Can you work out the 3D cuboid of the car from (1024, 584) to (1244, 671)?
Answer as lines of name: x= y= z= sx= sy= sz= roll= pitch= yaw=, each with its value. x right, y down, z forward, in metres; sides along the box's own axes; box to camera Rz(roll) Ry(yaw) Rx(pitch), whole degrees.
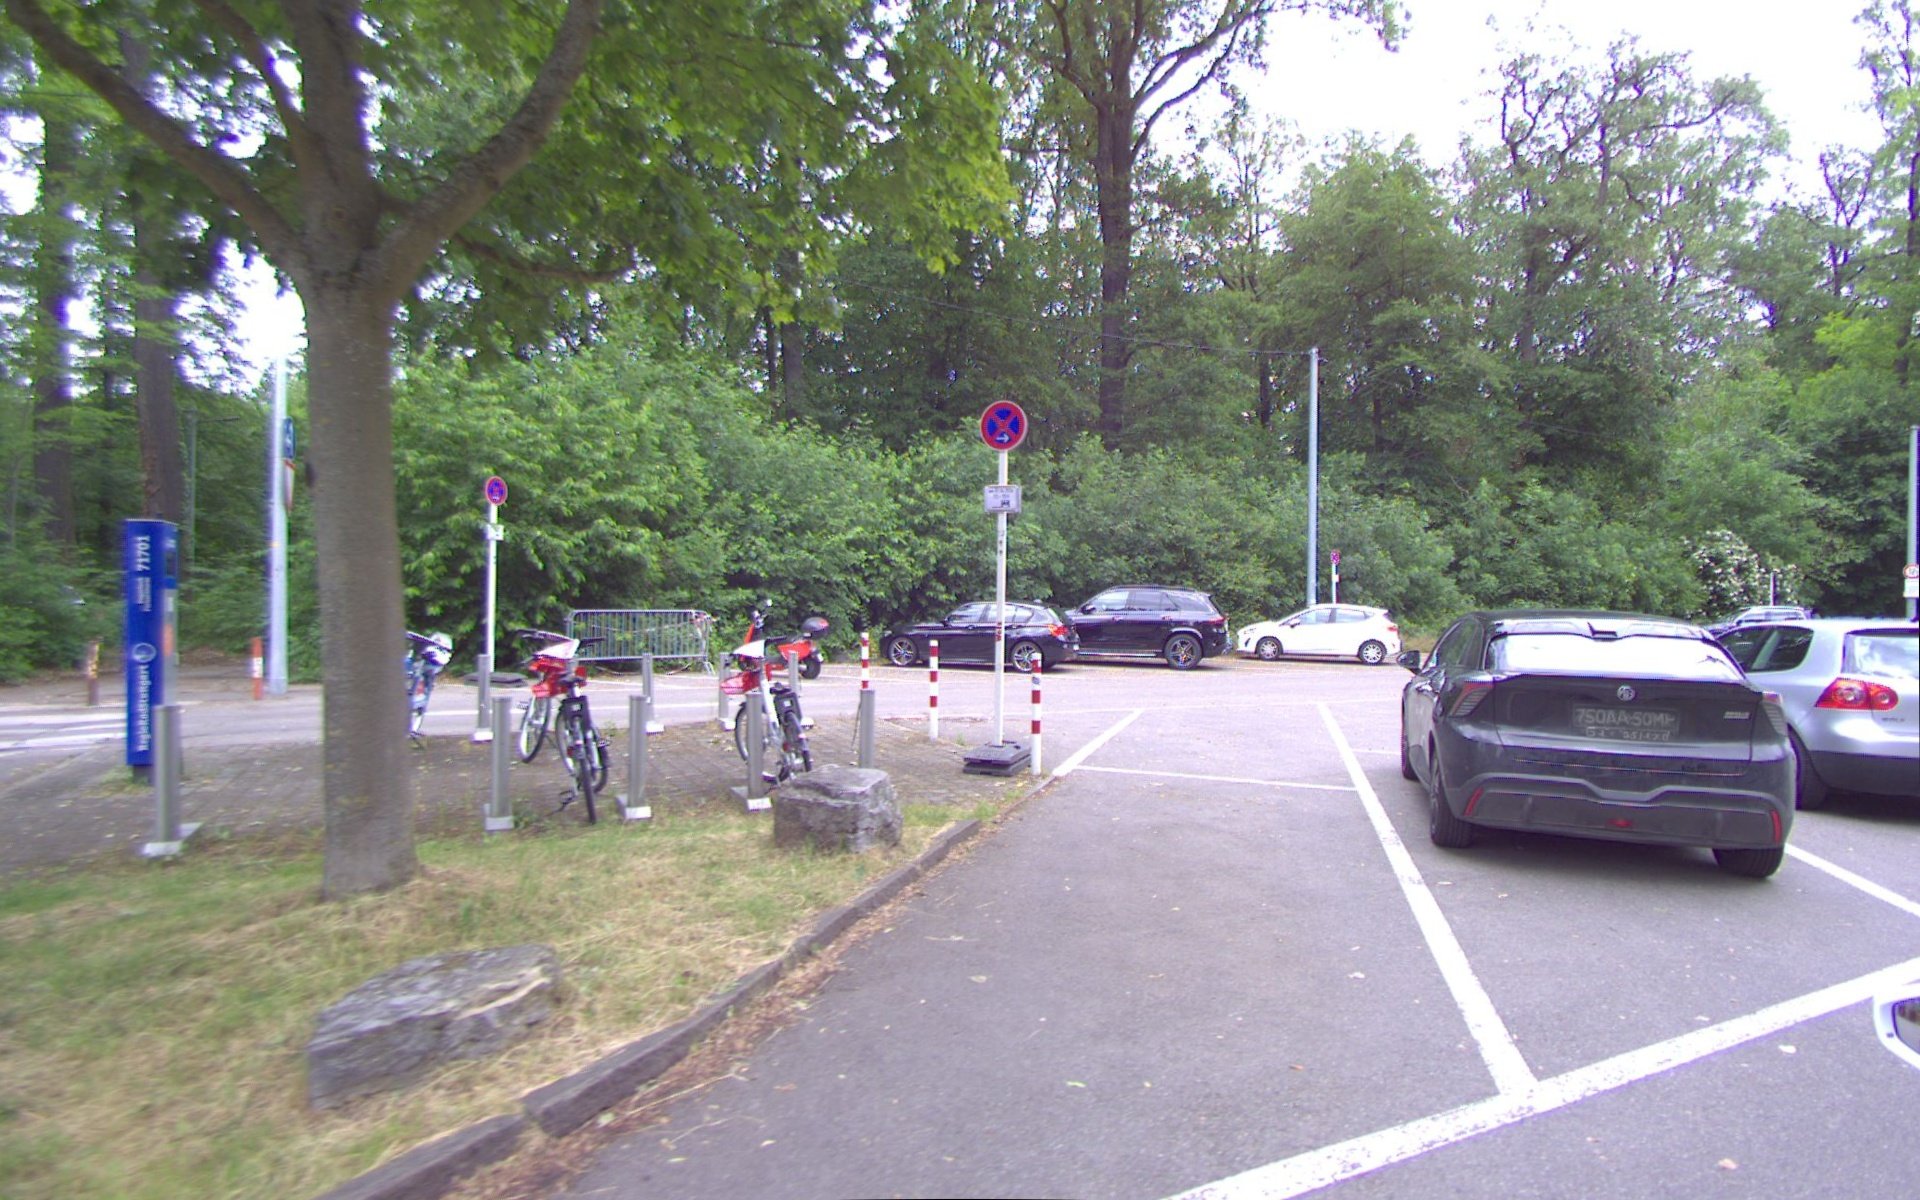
car: x=3.961 y=0.558 z=22.701 sx=4.615 sy=1.790 sz=2.112 roll=1 pitch=0 yaw=19

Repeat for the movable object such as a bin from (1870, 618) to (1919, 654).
movable object such as a bin: x=36.137 y=1.371 z=38.867 sx=1.153 sy=1.325 sz=1.309 roll=1 pitch=0 yaw=33

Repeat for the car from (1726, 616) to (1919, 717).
car: x=15.181 y=1.041 z=17.135 sx=1.832 sy=1.461 sz=4.318 roll=1 pitch=0 yaw=15

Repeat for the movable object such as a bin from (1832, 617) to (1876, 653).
movable object such as a bin: x=35.185 y=1.367 z=39.564 sx=1.108 sy=1.332 sz=1.181 roll=1 pitch=0 yaw=33

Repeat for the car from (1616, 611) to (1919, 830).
car: x=7.613 y=0.887 z=8.916 sx=1.839 sy=1.503 sz=4.002 roll=1 pitch=0 yaw=15

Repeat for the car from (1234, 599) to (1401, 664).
car: x=9.174 y=0.765 z=25.961 sx=3.921 sy=1.531 sz=1.870 roll=1 pitch=0 yaw=19

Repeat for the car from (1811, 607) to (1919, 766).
car: x=10.560 y=0.885 z=10.084 sx=1.653 sy=1.606 sz=3.656 roll=1 pitch=0 yaw=15

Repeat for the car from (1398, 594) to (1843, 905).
car: x=4.313 y=0.767 z=7.315 sx=1.795 sy=1.543 sz=4.100 roll=1 pitch=0 yaw=20

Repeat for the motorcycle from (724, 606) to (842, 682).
motorcycle: x=-3.106 y=0.736 z=17.550 sx=1.992 sy=1.224 sz=0.729 roll=1 pitch=0 yaw=29

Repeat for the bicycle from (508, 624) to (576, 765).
bicycle: x=-3.833 y=0.815 z=9.274 sx=0.498 sy=1.126 sz=1.677 roll=1 pitch=0 yaw=-21

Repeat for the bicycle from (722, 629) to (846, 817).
bicycle: x=-1.317 y=0.809 z=7.268 sx=0.476 sy=1.126 sz=1.778 roll=1 pitch=0 yaw=-23

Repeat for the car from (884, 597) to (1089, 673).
car: x=0.566 y=0.685 z=20.948 sx=3.921 sy=1.394 sz=1.740 roll=1 pitch=0 yaw=19

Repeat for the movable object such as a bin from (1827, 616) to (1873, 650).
movable object such as a bin: x=36.426 y=1.341 z=41.122 sx=1.226 sy=1.337 sz=1.117 roll=1 pitch=0 yaw=-31

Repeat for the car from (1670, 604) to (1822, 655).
car: x=28.998 y=1.052 z=37.201 sx=3.991 sy=1.707 sz=1.880 roll=1 pitch=0 yaw=20

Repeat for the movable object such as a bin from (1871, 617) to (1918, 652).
movable object such as a bin: x=37.764 y=1.370 z=40.583 sx=1.137 sy=1.342 sz=1.243 roll=1 pitch=0 yaw=-39

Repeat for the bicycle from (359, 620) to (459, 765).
bicycle: x=-4.884 y=0.765 z=8.979 sx=0.475 sy=1.126 sz=1.690 roll=1 pitch=0 yaw=-18

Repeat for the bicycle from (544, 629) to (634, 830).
bicycle: x=-2.542 y=0.792 z=6.799 sx=0.476 sy=1.126 sz=1.675 roll=1 pitch=0 yaw=-23
